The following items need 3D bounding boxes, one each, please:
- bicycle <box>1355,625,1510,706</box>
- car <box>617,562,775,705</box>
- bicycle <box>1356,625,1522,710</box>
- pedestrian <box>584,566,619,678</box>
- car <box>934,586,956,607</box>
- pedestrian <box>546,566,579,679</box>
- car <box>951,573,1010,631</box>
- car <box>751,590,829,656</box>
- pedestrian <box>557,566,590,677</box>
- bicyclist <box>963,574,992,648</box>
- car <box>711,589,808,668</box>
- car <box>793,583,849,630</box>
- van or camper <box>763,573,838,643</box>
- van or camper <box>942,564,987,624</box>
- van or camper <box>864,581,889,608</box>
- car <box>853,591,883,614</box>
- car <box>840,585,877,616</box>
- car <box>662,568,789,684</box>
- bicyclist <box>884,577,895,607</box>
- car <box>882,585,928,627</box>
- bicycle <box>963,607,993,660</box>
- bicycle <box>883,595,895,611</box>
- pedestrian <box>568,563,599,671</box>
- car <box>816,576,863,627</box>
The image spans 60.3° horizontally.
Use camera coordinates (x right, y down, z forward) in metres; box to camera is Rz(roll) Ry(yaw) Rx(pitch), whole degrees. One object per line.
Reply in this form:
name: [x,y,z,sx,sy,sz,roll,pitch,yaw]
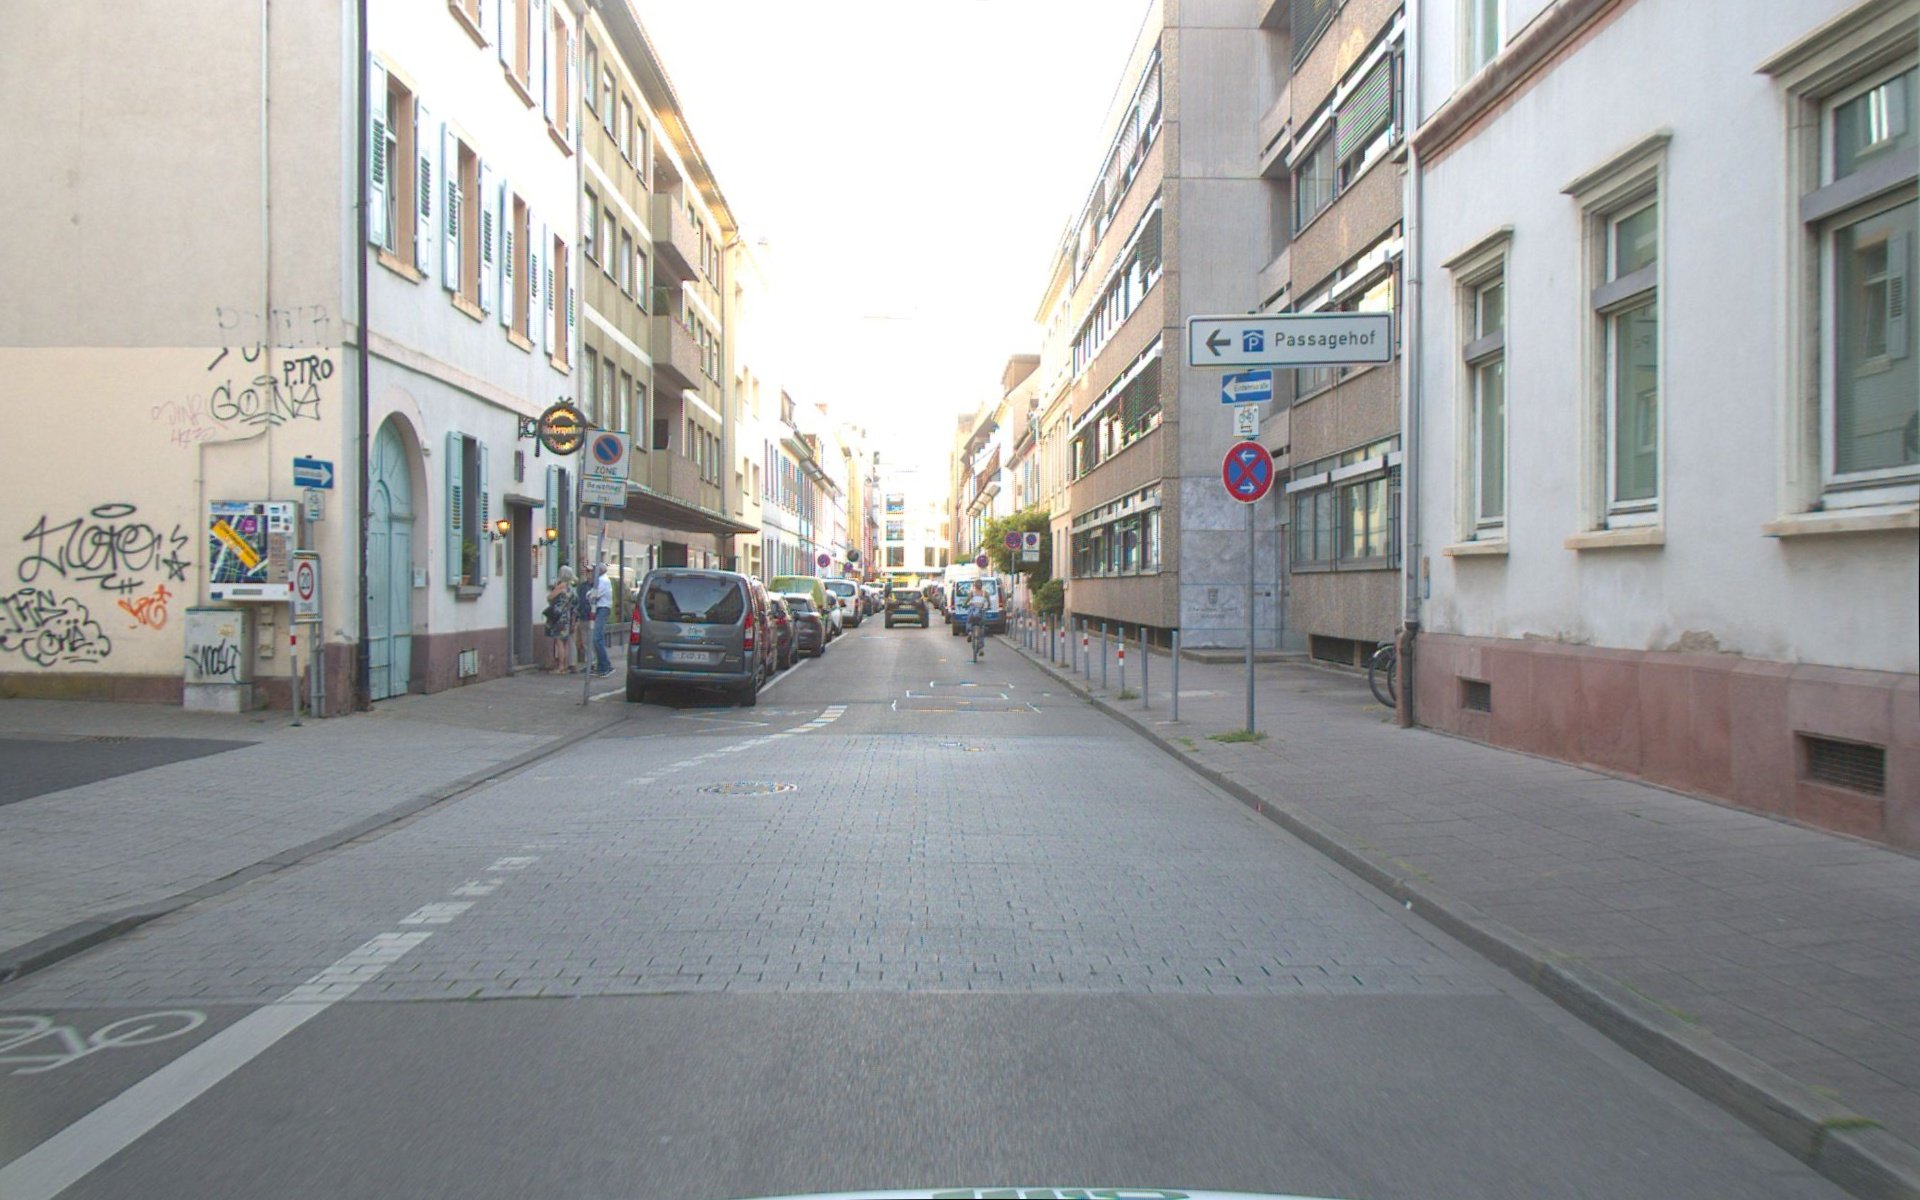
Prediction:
bicycle: [5.628,0.780,19.721,1.707,0.939,0.537,0,0,-9]
car: [-3.681,0.429,23.747,1.840,1.843,4.447,1,0,-4]
bicycle: [5.470,0.761,18.901,1.762,0.939,0.537,0,0,-10]
pedestrian: [-5.755,0.354,26.568,0.440,1.780,0.470,0,0,0]
car: [-1.165,-0.257,127.472,1.620,1.588,3.605,1,0,-1]
pedestrian: [-6.316,0.350,26.273,0.398,1.780,0.470,0,0,0]
car: [0.661,0.046,57.656,1.897,1.931,5.275,0,0,-1]
car: [-3.922,0.496,38.628,1.592,1.440,3.978,1,0,-3]
pedestrian: [-6.257,0.349,26.795,0.398,1.780,0.470,0,0,0]
bicyclist: [0.368,0.237,36.008,0.608,1.602,0.683,0,0,-1]
car: [-4.022,0.542,33.654,1.591,1.511,3.877,0,0,-1]
car: [-4.668,0.210,55.991,1.628,1.474,3.519,3,0,-2]
van or camper: [-4.441,0.193,46.665,1.736,1.880,4.178,0,0,-1]
van or camper: [0.159,-0.307,77.641,2.008,2.683,7.062,0,0,0]
van or camper: [-6.710,-0.463,132.921,1.807,2.048,4.677,1,0,-1]
car: [-6.149,0.155,110.736,1.880,1.459,4.291,1,0,-3]
car: [-5.679,0.011,93.002,1.766,1.706,4.489,0,0,0]
car: [-4.006,0.412,28.870,1.737,1.843,4.508,1,0,-3]
bicyclist: [-4.053,-0.466,94.768,0.610,1.668,1.081,0,0,-1]
car: [-2.225,0.227,67.440,1.783,1.646,3.999,1,0,-2]
bicycle: [0.379,0.706,35.944,0.601,1.101,1.809,0,0,0]
bicycle: [-4.059,0.163,94.854,0.621,0.938,1.779,0,0,-1]
pedestrian: [-6.218,0.279,27.337,0.398,1.780,0.470,0,0,0]
car: [-4.979,0.041,68.880,1.825,2.049,5.103,0,0,-3]
